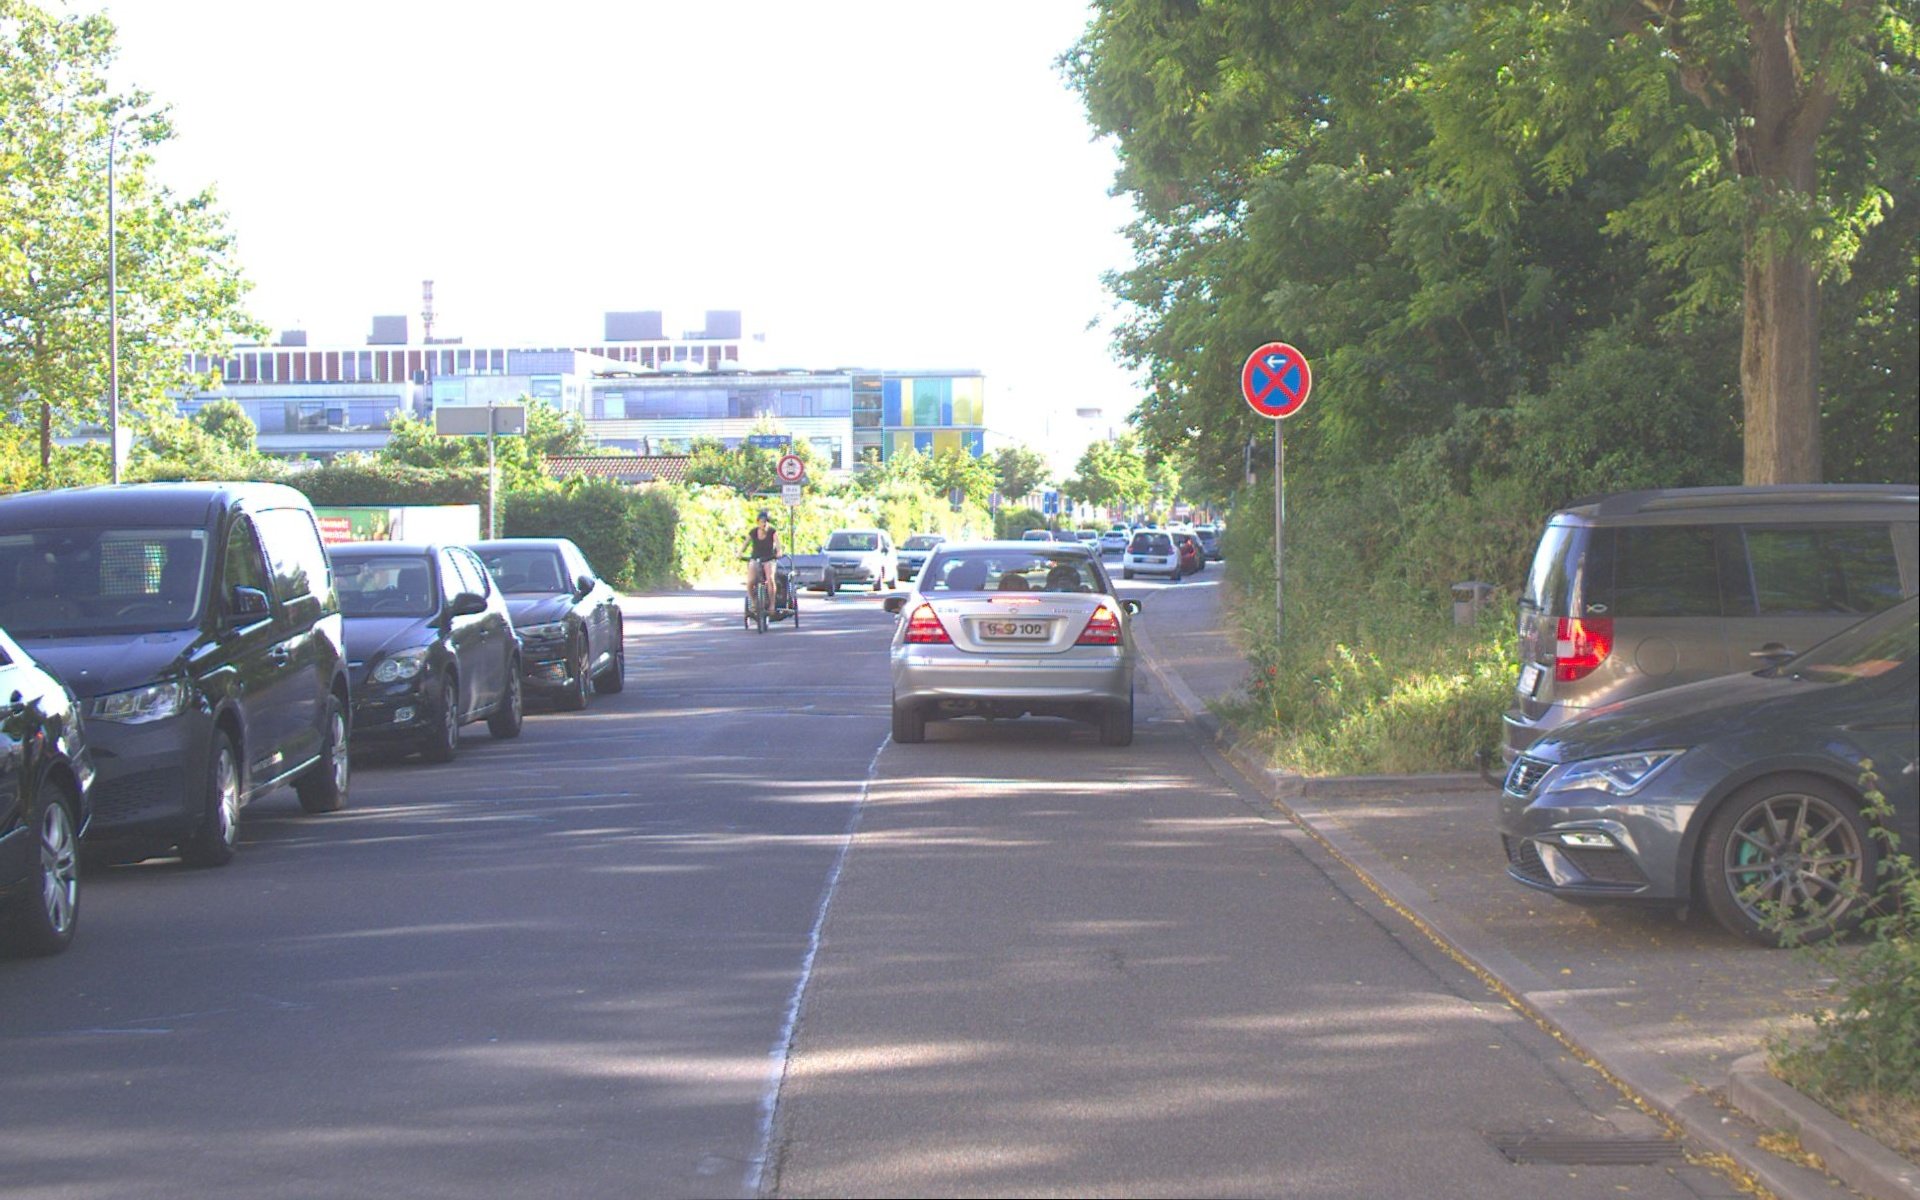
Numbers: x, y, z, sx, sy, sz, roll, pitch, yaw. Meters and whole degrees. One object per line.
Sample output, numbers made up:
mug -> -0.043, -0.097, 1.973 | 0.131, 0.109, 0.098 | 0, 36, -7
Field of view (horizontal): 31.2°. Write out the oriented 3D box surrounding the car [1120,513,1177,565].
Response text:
car -> 5.829, -1.901, 106.145 | 1.556, 1.533, 3.555 | 2, 1, 6

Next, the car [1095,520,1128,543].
car -> 9.588, -4.324, 217.779 | 1.855, 1.423, 4.133 | 1, 1, 5

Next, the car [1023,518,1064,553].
car -> 3.718, -2.893, 153.462 | 1.560, 1.489, 3.570 | -1, 1, 5

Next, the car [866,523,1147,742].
car -> 0.260, 0.177, 25.051 | 1.737, 1.448, 4.001 | 0, 1, -4

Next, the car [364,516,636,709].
car -> -3.963, 0.043, 30.314 | 1.727, 1.458, 4.683 | -2, 2, 0

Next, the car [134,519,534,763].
car -> -4.214, 0.215, 23.783 | 1.840, 1.449, 4.018 | -2, 2, 2

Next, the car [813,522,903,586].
car -> -2.612, -1.215, 88.865 | 1.644, 1.594, 4.310 | 1, 1, 7

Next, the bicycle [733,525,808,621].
bicycle -> -2.802, -0.424, 51.136 | 0.851, 1.366, 3.220 | 0, 1, 1

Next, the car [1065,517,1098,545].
car -> 6.675, -3.762, 188.415 | 1.560, 1.489, 3.758 | -1, 1, 5

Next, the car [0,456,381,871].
car -> -4.295, 0.239, 17.394 | 1.840, 1.774, 4.889 | -2, 1, 0

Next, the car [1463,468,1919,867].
car -> 4.502, 0.241, 15.757 | 4.149, 1.689, 1.775 | -1, 2, 2

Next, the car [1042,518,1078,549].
car -> 4.993, -3.331, 171.461 | 1.560, 1.489, 3.570 | 2, 1, 5

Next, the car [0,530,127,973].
car -> -4.163, 0.574, 11.027 | 1.840, 1.476, 4.575 | -3, 1, -1

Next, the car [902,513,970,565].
car -> -0.722, -1.891, 106.590 | 1.644, 1.551, 4.417 | -1, 1, 5

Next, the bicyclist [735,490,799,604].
bicyclist -> -2.838, -0.783, 50.644 | 0.845, 1.652, 1.064 | 0, 1, 1

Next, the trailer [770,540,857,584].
trailer -> -3.348, -0.881, 78.877 | 1.544, 0.950, 2.646 | 1, 1, 8

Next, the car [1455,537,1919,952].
car -> 4.259, 0.465, 13.103 | 4.451, 1.409, 1.775 | -1, 2, 0
